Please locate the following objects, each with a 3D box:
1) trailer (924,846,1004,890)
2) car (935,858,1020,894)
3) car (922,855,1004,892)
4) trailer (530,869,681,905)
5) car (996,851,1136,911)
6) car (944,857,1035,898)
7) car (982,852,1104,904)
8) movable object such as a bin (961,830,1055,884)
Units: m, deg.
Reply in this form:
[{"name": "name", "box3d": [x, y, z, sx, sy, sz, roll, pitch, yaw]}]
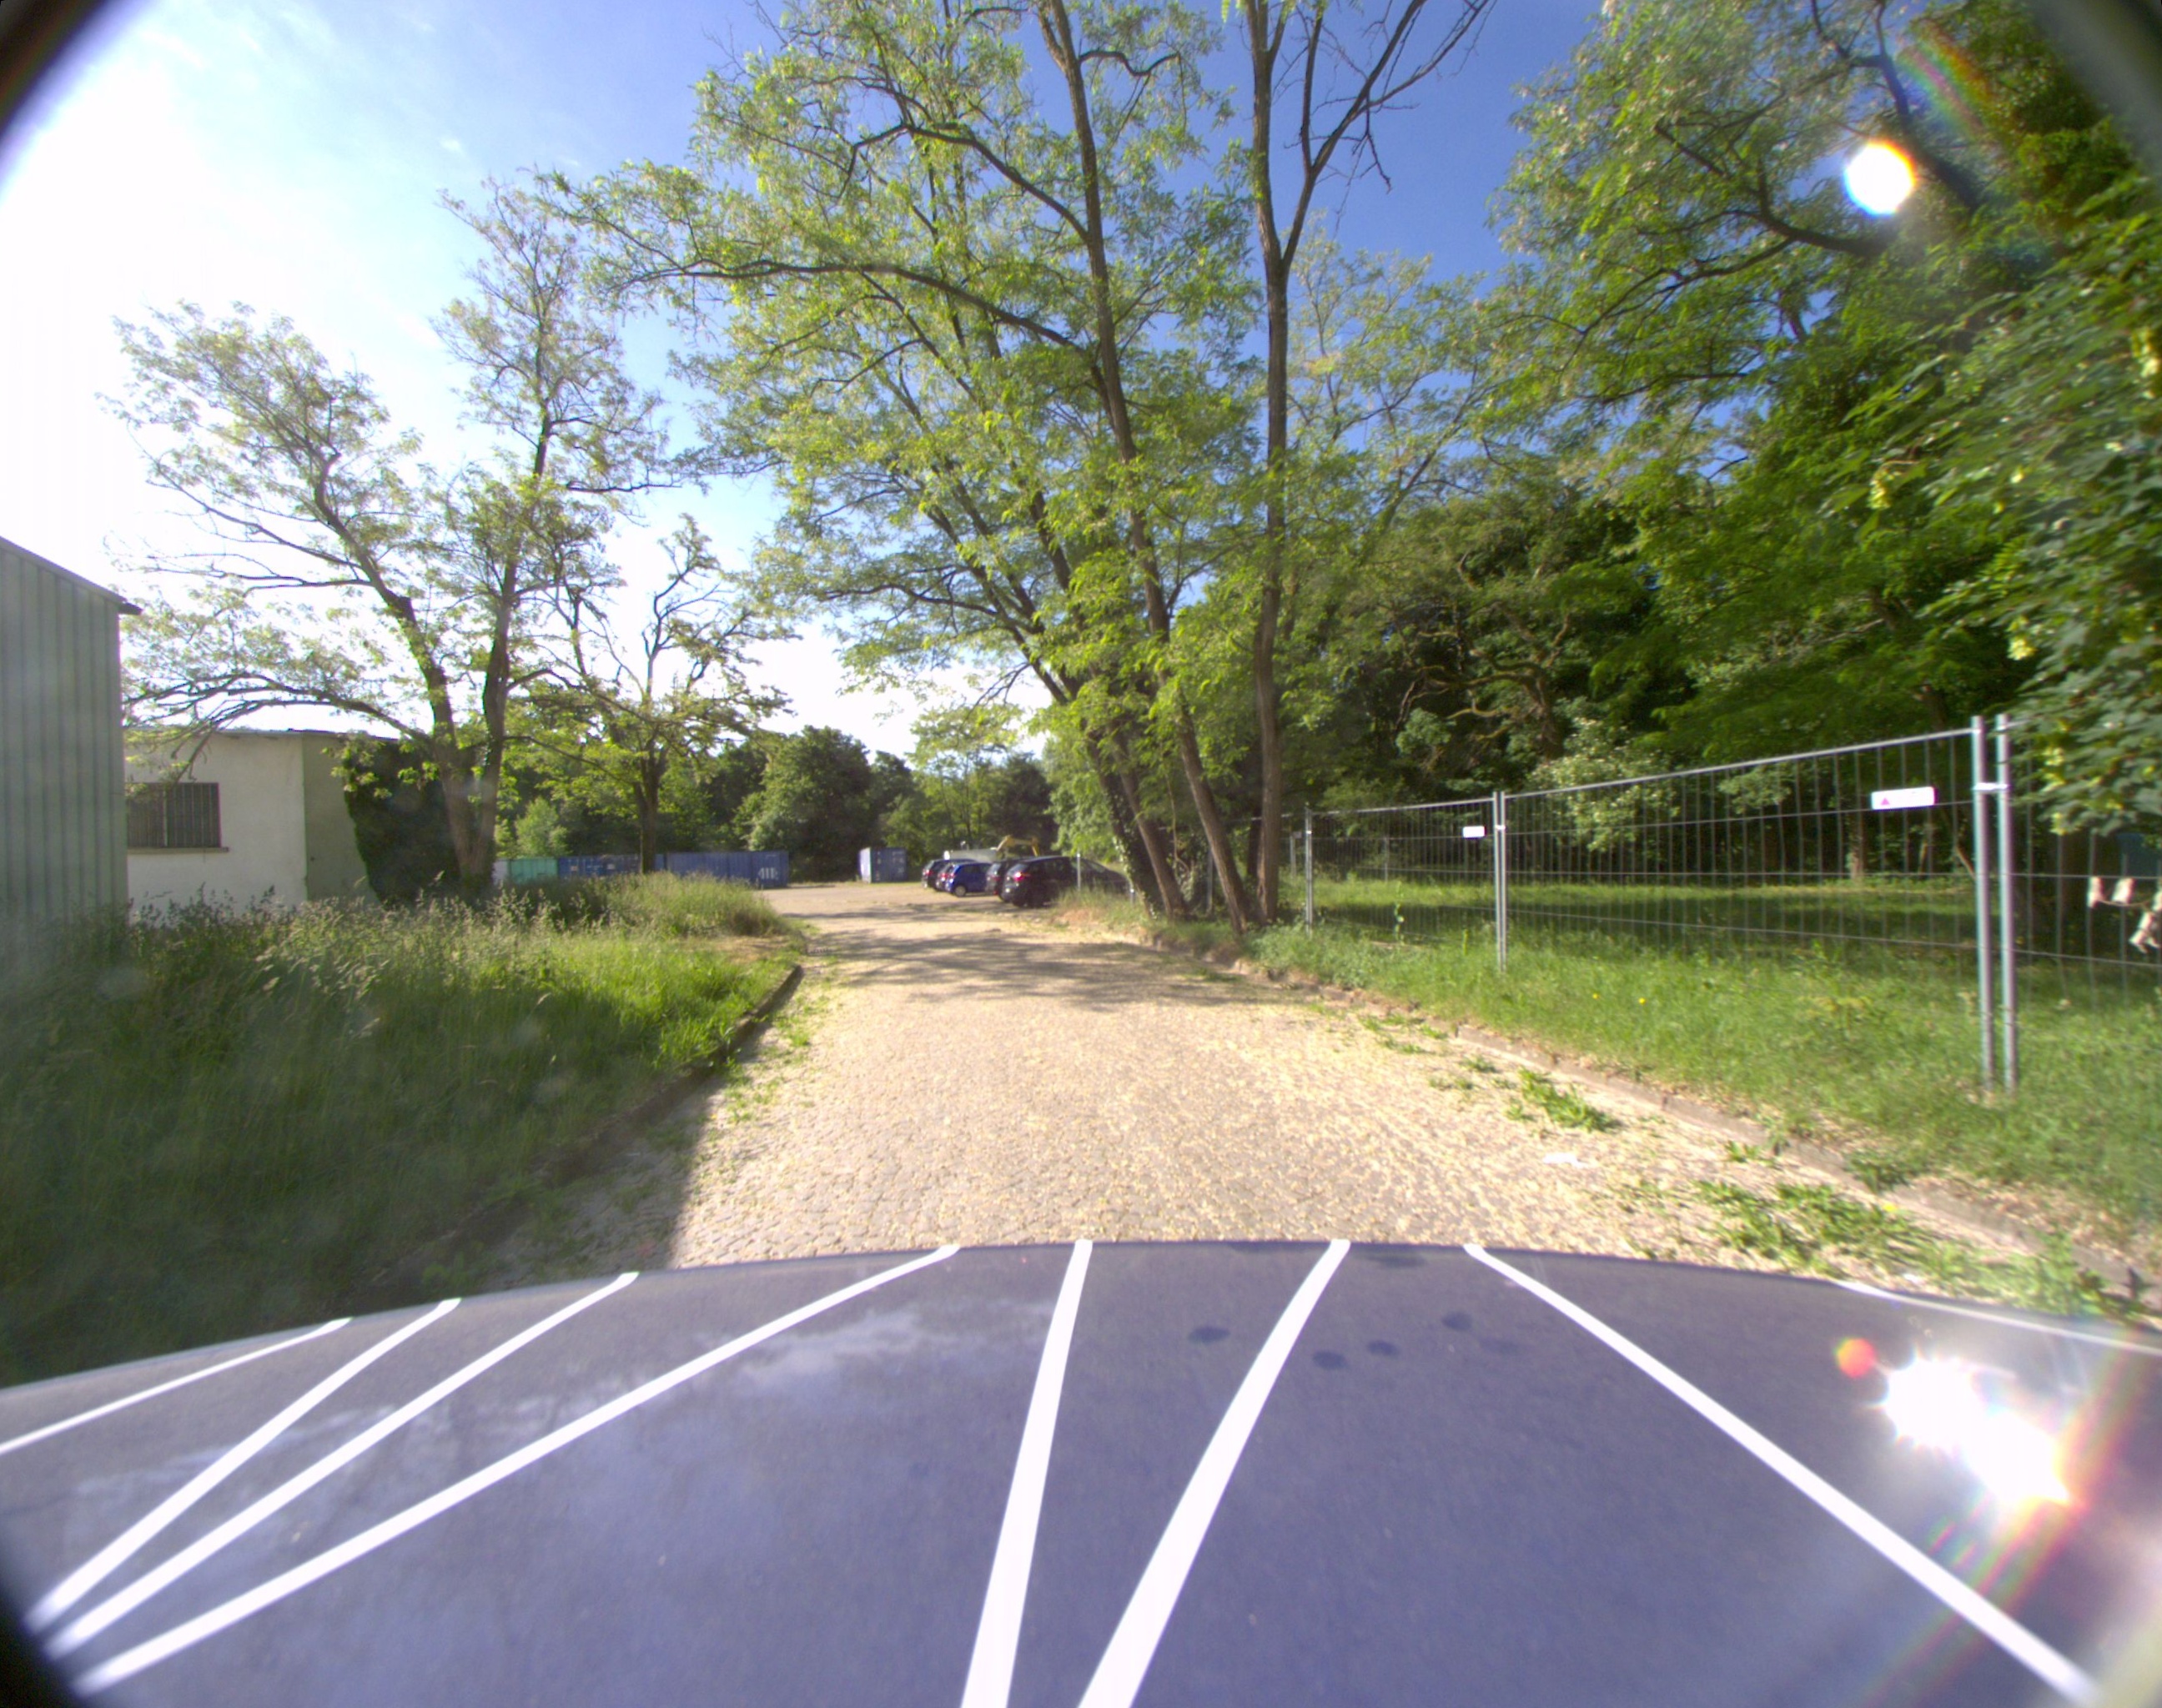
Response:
[{"name": "trailer", "box3d": [-6.361, 0.727, 41.204, 3.975, 2.082, 1.636, -3, 1, -19]}, {"name": "car", "box3d": [-4.925, 1.000, 36.062, 3.666, 1.443, 1.831, -4, 1, -19]}, {"name": "car", "box3d": [-5.962, 0.947, 38.278, 3.823, 1.631, 1.865, -2, 0, -17]}, {"name": "trailer", "box3d": [-25.977, 1.750, 41.873, 6.498, 1.509, 2.850, -2, 2, -20]}, {"name": "car", "box3d": [-0.510, 0.859, 25.757, 4.304, 1.643, 1.790, -4, 1, -24]}, {"name": "car", "box3d": [-4.067, 1.012, 33.603, 3.665, 1.484, 1.712, -4, 1, -17]}, {"name": "car", "box3d": [-1.459, 0.882, 28.856, 4.194, 1.646, 1.815, -3, 1, -20]}, {"name": "movable object such as a bin", "box3d": [-4.325, 0.180, 44.661, 5.167, 2.948, 1.997, -2, 0, -15]}]
